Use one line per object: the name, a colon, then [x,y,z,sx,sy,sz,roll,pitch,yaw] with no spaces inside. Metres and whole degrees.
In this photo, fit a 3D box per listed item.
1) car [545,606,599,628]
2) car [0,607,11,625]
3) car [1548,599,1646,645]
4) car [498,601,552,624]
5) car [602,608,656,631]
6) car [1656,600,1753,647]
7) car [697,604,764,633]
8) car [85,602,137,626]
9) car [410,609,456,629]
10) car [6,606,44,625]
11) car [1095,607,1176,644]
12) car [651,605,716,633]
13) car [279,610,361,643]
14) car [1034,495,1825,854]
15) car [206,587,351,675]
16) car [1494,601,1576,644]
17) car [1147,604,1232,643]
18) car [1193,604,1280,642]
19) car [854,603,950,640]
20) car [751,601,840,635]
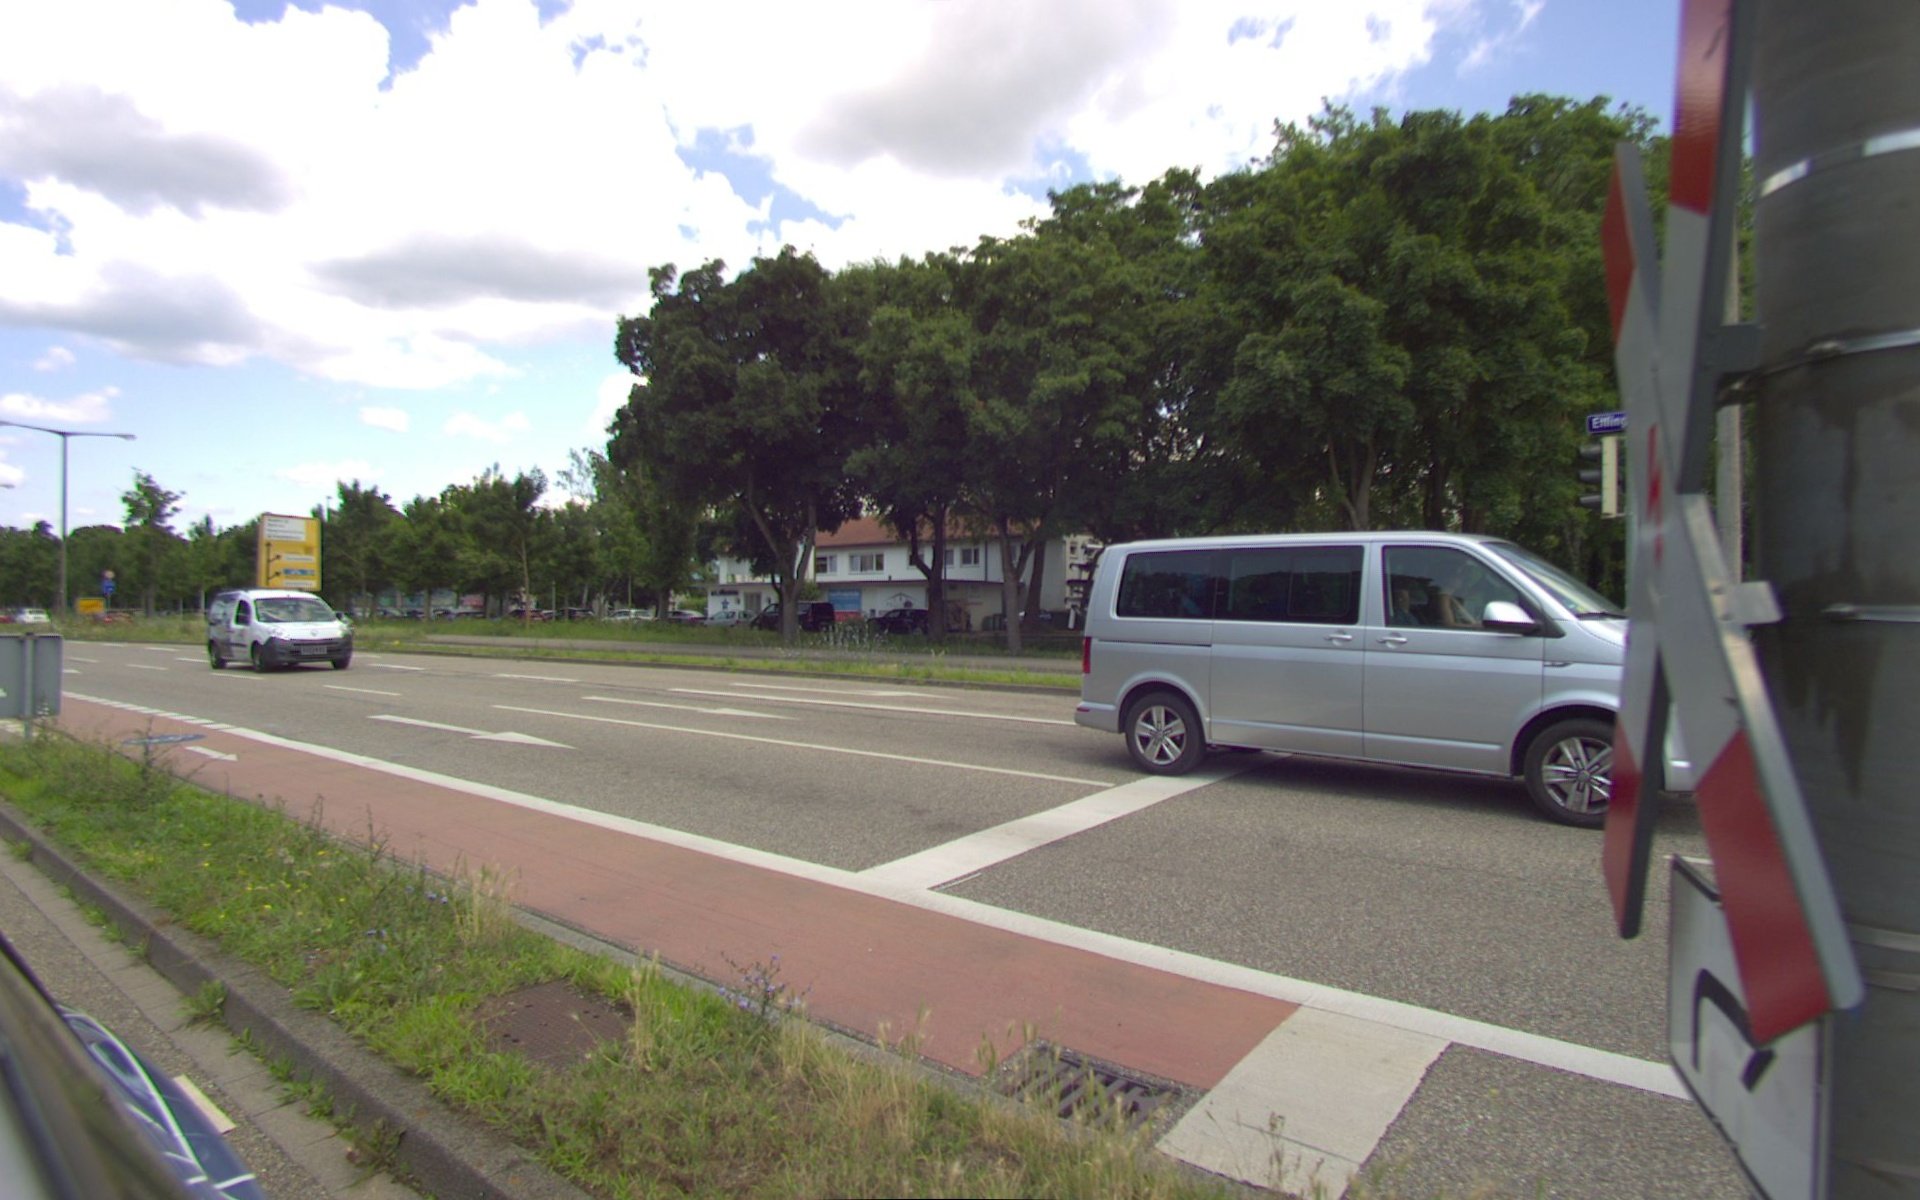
car: [-25.738,1.105,67.047,3.863,1.422,1.707,-1,-2,40]
car: [-85.738,1.416,89.494,3.992,1.630,1.976,-1,-1,36]
car: [25.893,0.896,41.088,4.504,1.738,2.050,1,-2,-39]
car: [-30.604,0.873,71.161,4.020,1.600,1.973,-1,-2,40]
car: [-20.545,1.213,62.816,3.474,1.342,1.605,-1,-2,40]
car: [28.930,0.905,39.284,4.061,1.738,2.080,1,-2,-39]
car: [-12.896,1.043,56.847,3.663,1.600,1.897,-1,-2,40]
car: [-56.966,0.943,67.902,3.994,1.523,1.869,0,0,37]
car: [-43.025,1.561,82.539,4.020,1.600,1.973,-1,-2,40]
car: [-73.576,1.201,79.615,3.588,1.456,1.596,0,0,37]
car: [7.460,1.093,43.428,1.966,1.495,4.034,0,-1,-14]
car: [-16.267,1.095,59.453,4.020,1.600,1.740,-1,-2,40]
car: [-29.394,1.199,46.446,4.490,1.443,1.783,-1,-1,38]
car: [3.221,0.414,7.838,5.228,1.933,1.795,-1,0,40]
car: [-15.328,0.653,22.676,4.154,1.799,1.724,-1,0,42]
car: [24.376,0.936,42.853,4.064,1.722,1.821,1,-1,-42]
car: [9.939,1.019,44.176,1.966,1.600,4.034,0,-1,-14]
car: [12.214,1.056,44.918,1.966,1.600,4.033,0,-3,-14]
car: [-2.822,1.018,49.074,4.346,1.670,1.795,0,0,29]
car: [-8.634,0.944,52.977,4.926,1.724,1.863,-1,-2,41]
